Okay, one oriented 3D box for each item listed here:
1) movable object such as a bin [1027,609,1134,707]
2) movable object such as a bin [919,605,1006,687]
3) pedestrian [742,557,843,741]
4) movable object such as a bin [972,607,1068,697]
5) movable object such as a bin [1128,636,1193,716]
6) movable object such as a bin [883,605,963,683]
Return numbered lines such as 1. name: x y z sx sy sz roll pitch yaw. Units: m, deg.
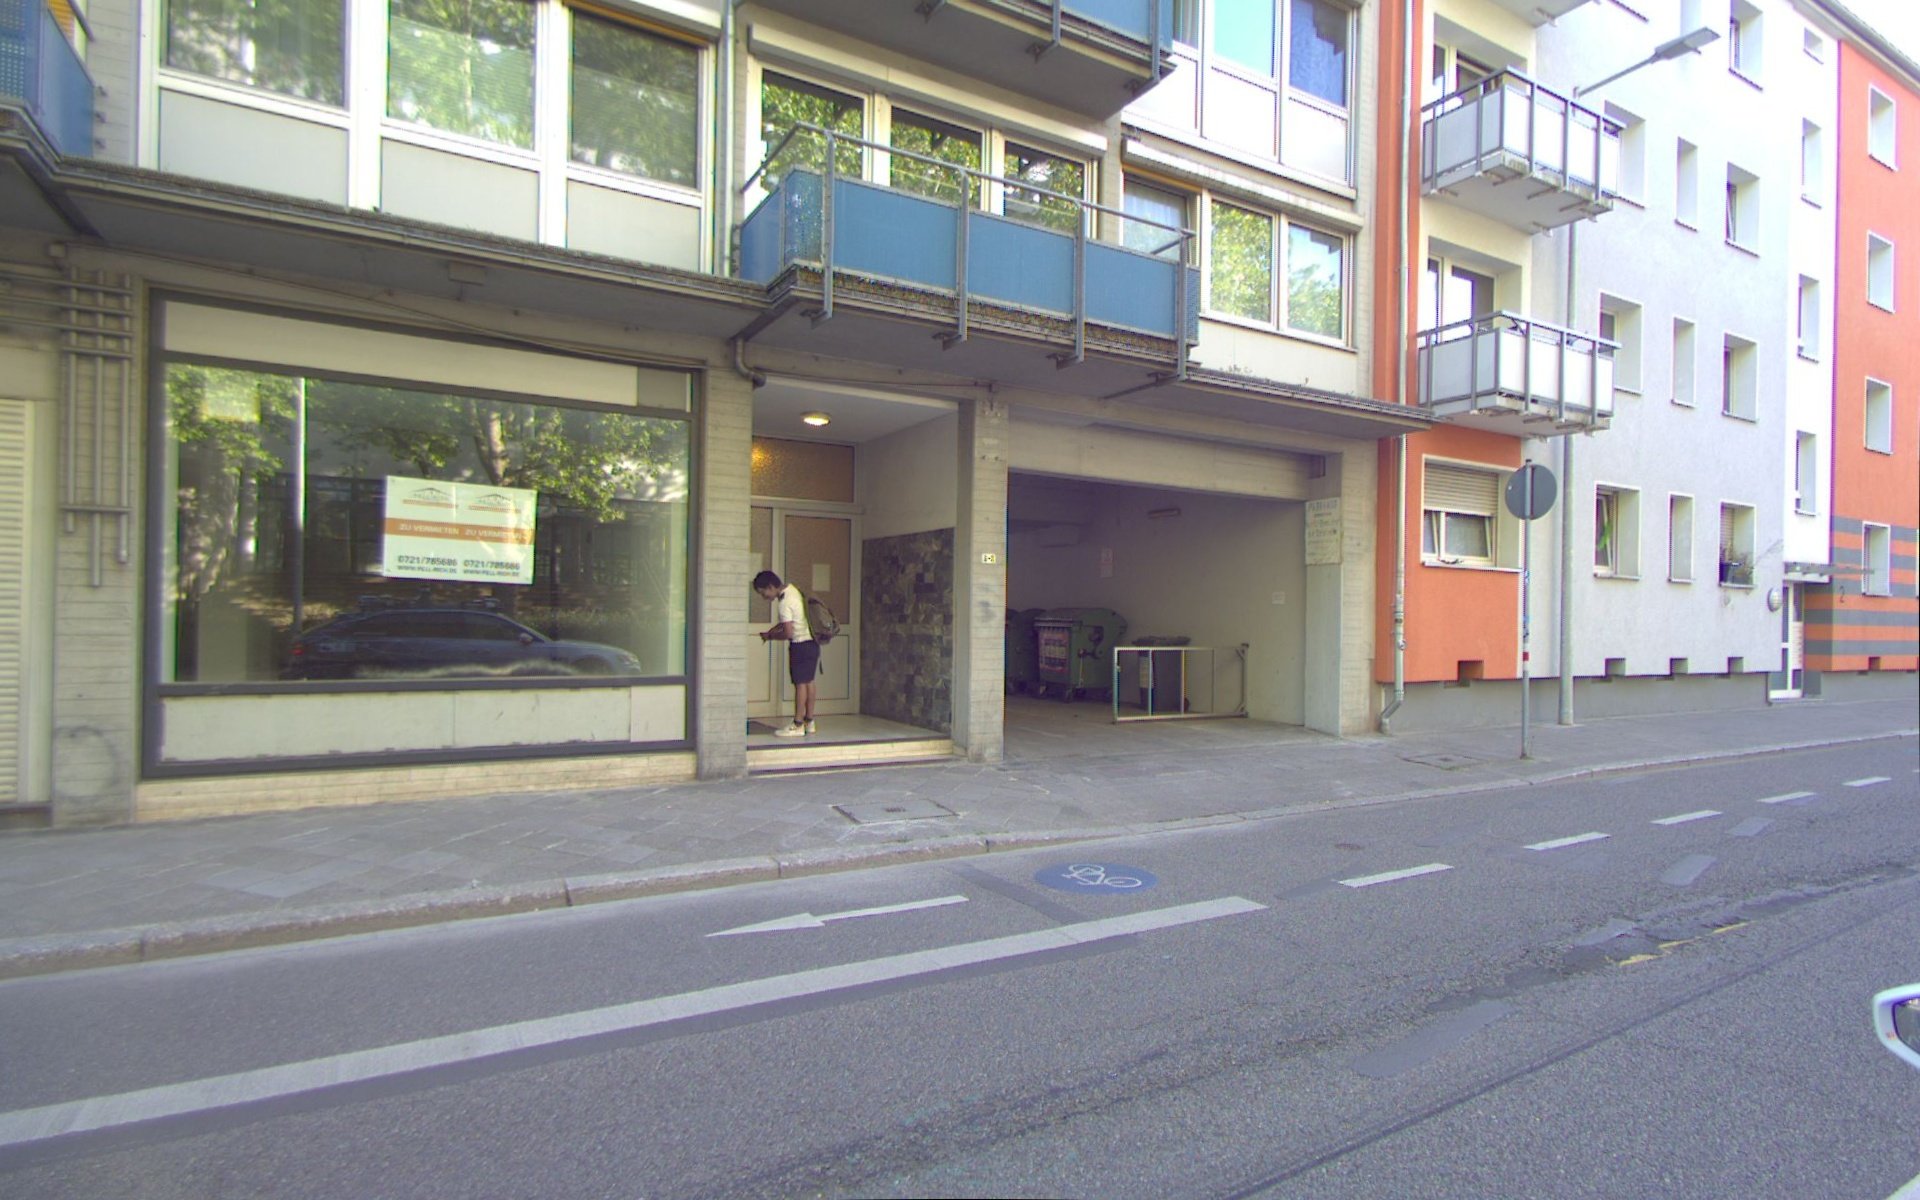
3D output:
1. movable object such as a bin: 1.877 0.885 15.811 1.120 1.444 1.268 2 0 -28
2. movable object such as a bin: 0.030 0.844 18.695 1.120 1.444 1.268 2 0 -28
3. pedestrian: -1.554 0.451 9.460 0.821 1.639 0.793 2 0 -4
4. movable object such as a bin: 1.010 0.870 17.152 1.120 1.444 1.268 2 0 -28
5. movable object such as a bin: 2.889 1.083 14.487 0.713 1.094 0.533 2 0 -29
6. movable object such as a bin: -0.740 0.848 19.788 1.120 1.444 1.268 2 0 -28
